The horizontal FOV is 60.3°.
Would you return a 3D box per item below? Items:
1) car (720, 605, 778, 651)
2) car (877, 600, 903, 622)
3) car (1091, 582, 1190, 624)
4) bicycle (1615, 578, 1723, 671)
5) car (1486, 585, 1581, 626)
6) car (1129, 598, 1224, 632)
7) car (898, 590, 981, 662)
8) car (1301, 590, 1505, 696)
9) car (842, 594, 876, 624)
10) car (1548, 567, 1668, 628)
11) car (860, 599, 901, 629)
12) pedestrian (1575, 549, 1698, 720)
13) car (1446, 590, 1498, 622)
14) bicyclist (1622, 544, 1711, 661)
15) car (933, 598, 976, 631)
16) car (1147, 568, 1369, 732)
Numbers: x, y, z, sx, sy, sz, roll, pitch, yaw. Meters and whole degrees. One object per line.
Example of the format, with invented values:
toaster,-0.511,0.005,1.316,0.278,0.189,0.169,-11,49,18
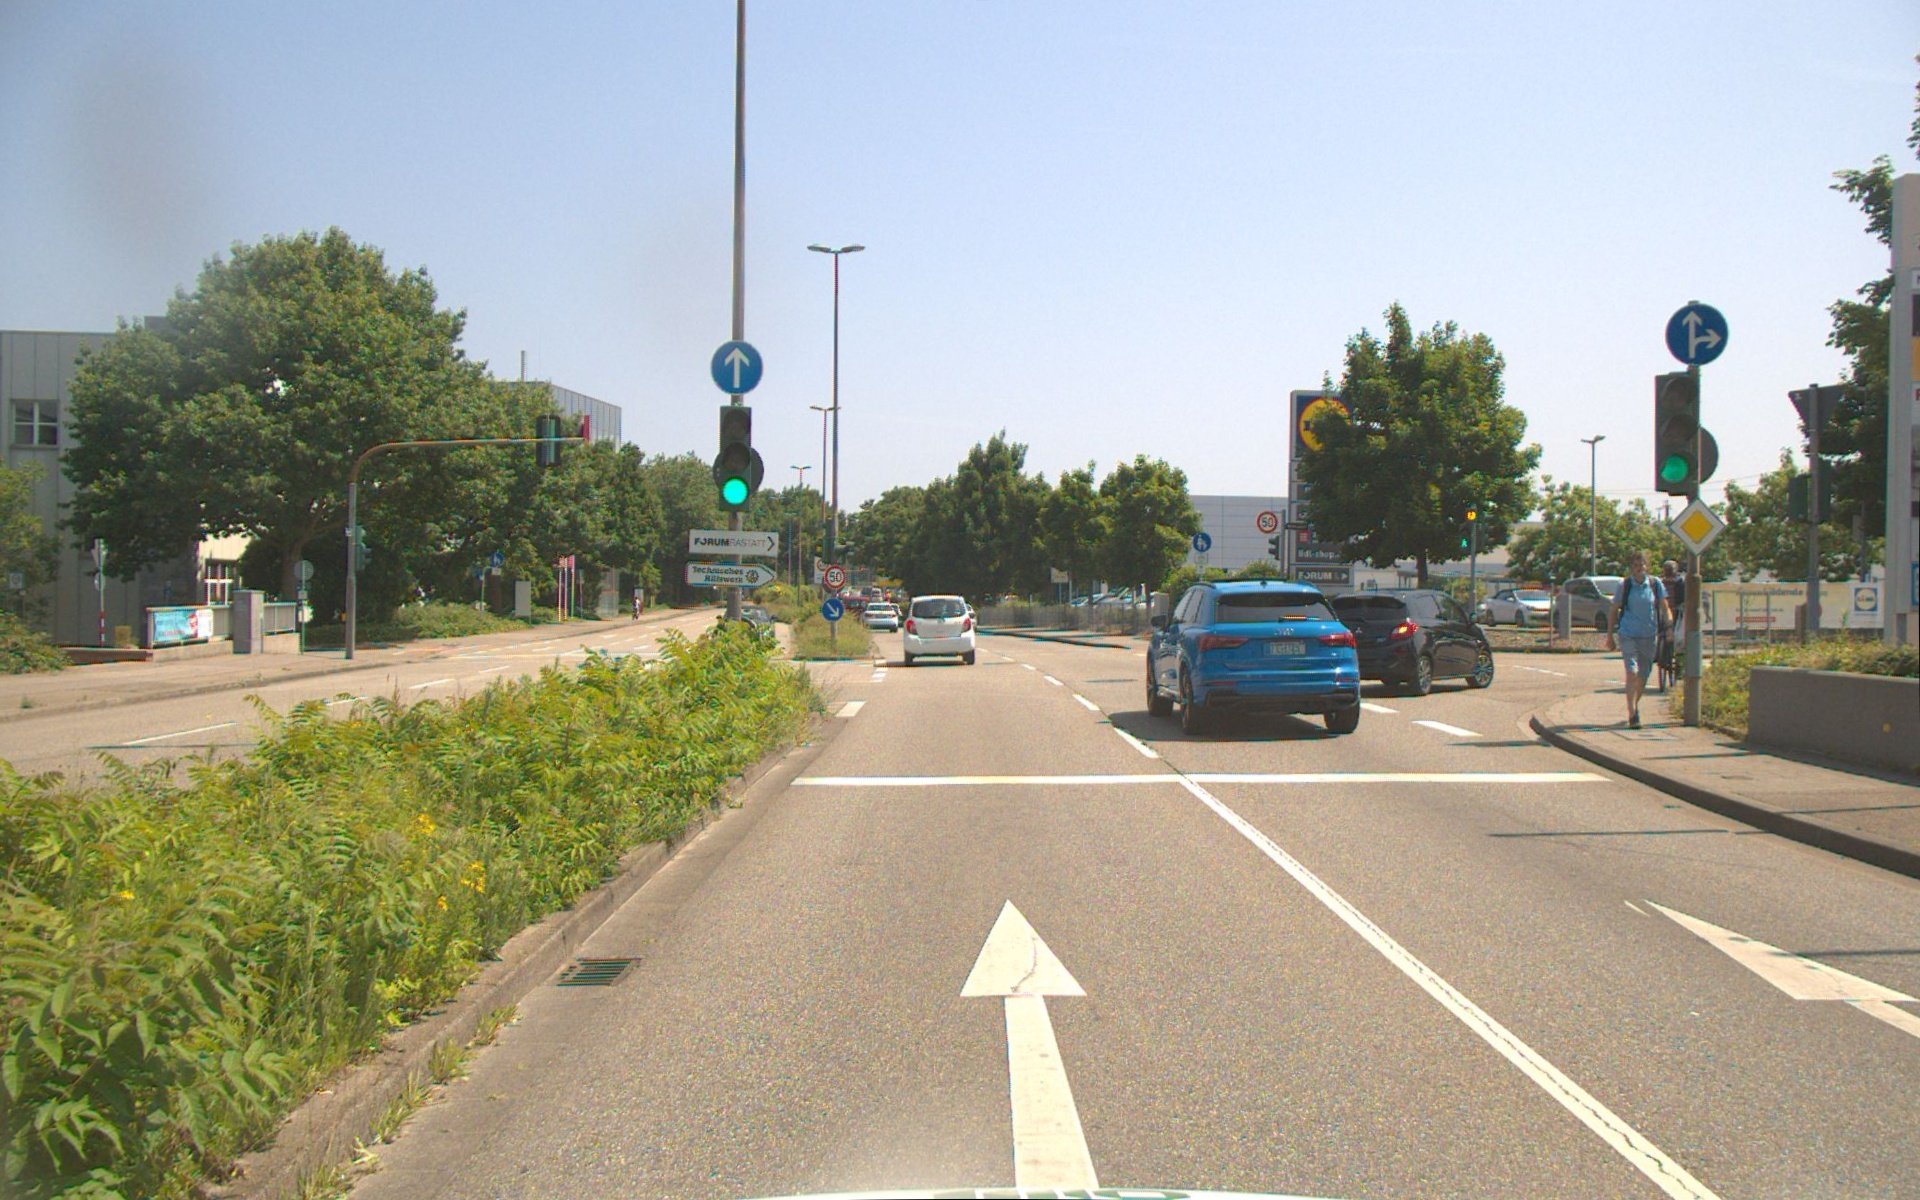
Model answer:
car,-6.500,0.832,51.099,1.696,1.347,4.143,-1,0,-7
car,-4.539,0.712,107.538,1.414,1.372,3.454,-1,0,-7
car,8.753,0.151,80.531,4.528,1.958,1.824,0,0,-6
bicycle,9.324,0.324,21.825,0.741,1.152,1.909,2,-1,6
car,21.045,0.226,60.856,1.702,1.418,4.074,-1,-1,-6
car,9.596,0.659,73.369,3.920,1.446,1.695,0,0,-7
car,-0.509,0.580,37.875,1.607,1.579,3.320,0,0,-6
car,6.493,0.576,24.074,1.591,1.425,3.413,0,0,40
car,-5.761,0.498,94.519,1.847,1.636,3.998,-1,0,-2
car,16.922,-0.075,43.358,1.393,1.463,3.529,-2,1,-7
car,-3.911,0.683,80.889,1.848,1.378,3.995,2,-1,-5
pedestrian,6.795,0.353,16.653,0.811,1.654,1.005,1,-2,-1
car,24.316,0.291,78.672,1.241,1.445,2.953,-1,0,-7
bicyclist,9.330,0.036,21.878,0.758,1.490,1.091,1,-1,6
car,-0.292,0.687,78.682,1.828,1.499,3.998,2,-1,-2
car,3.206,0.488,18.633,1.771,1.620,4.350,0,0,1
